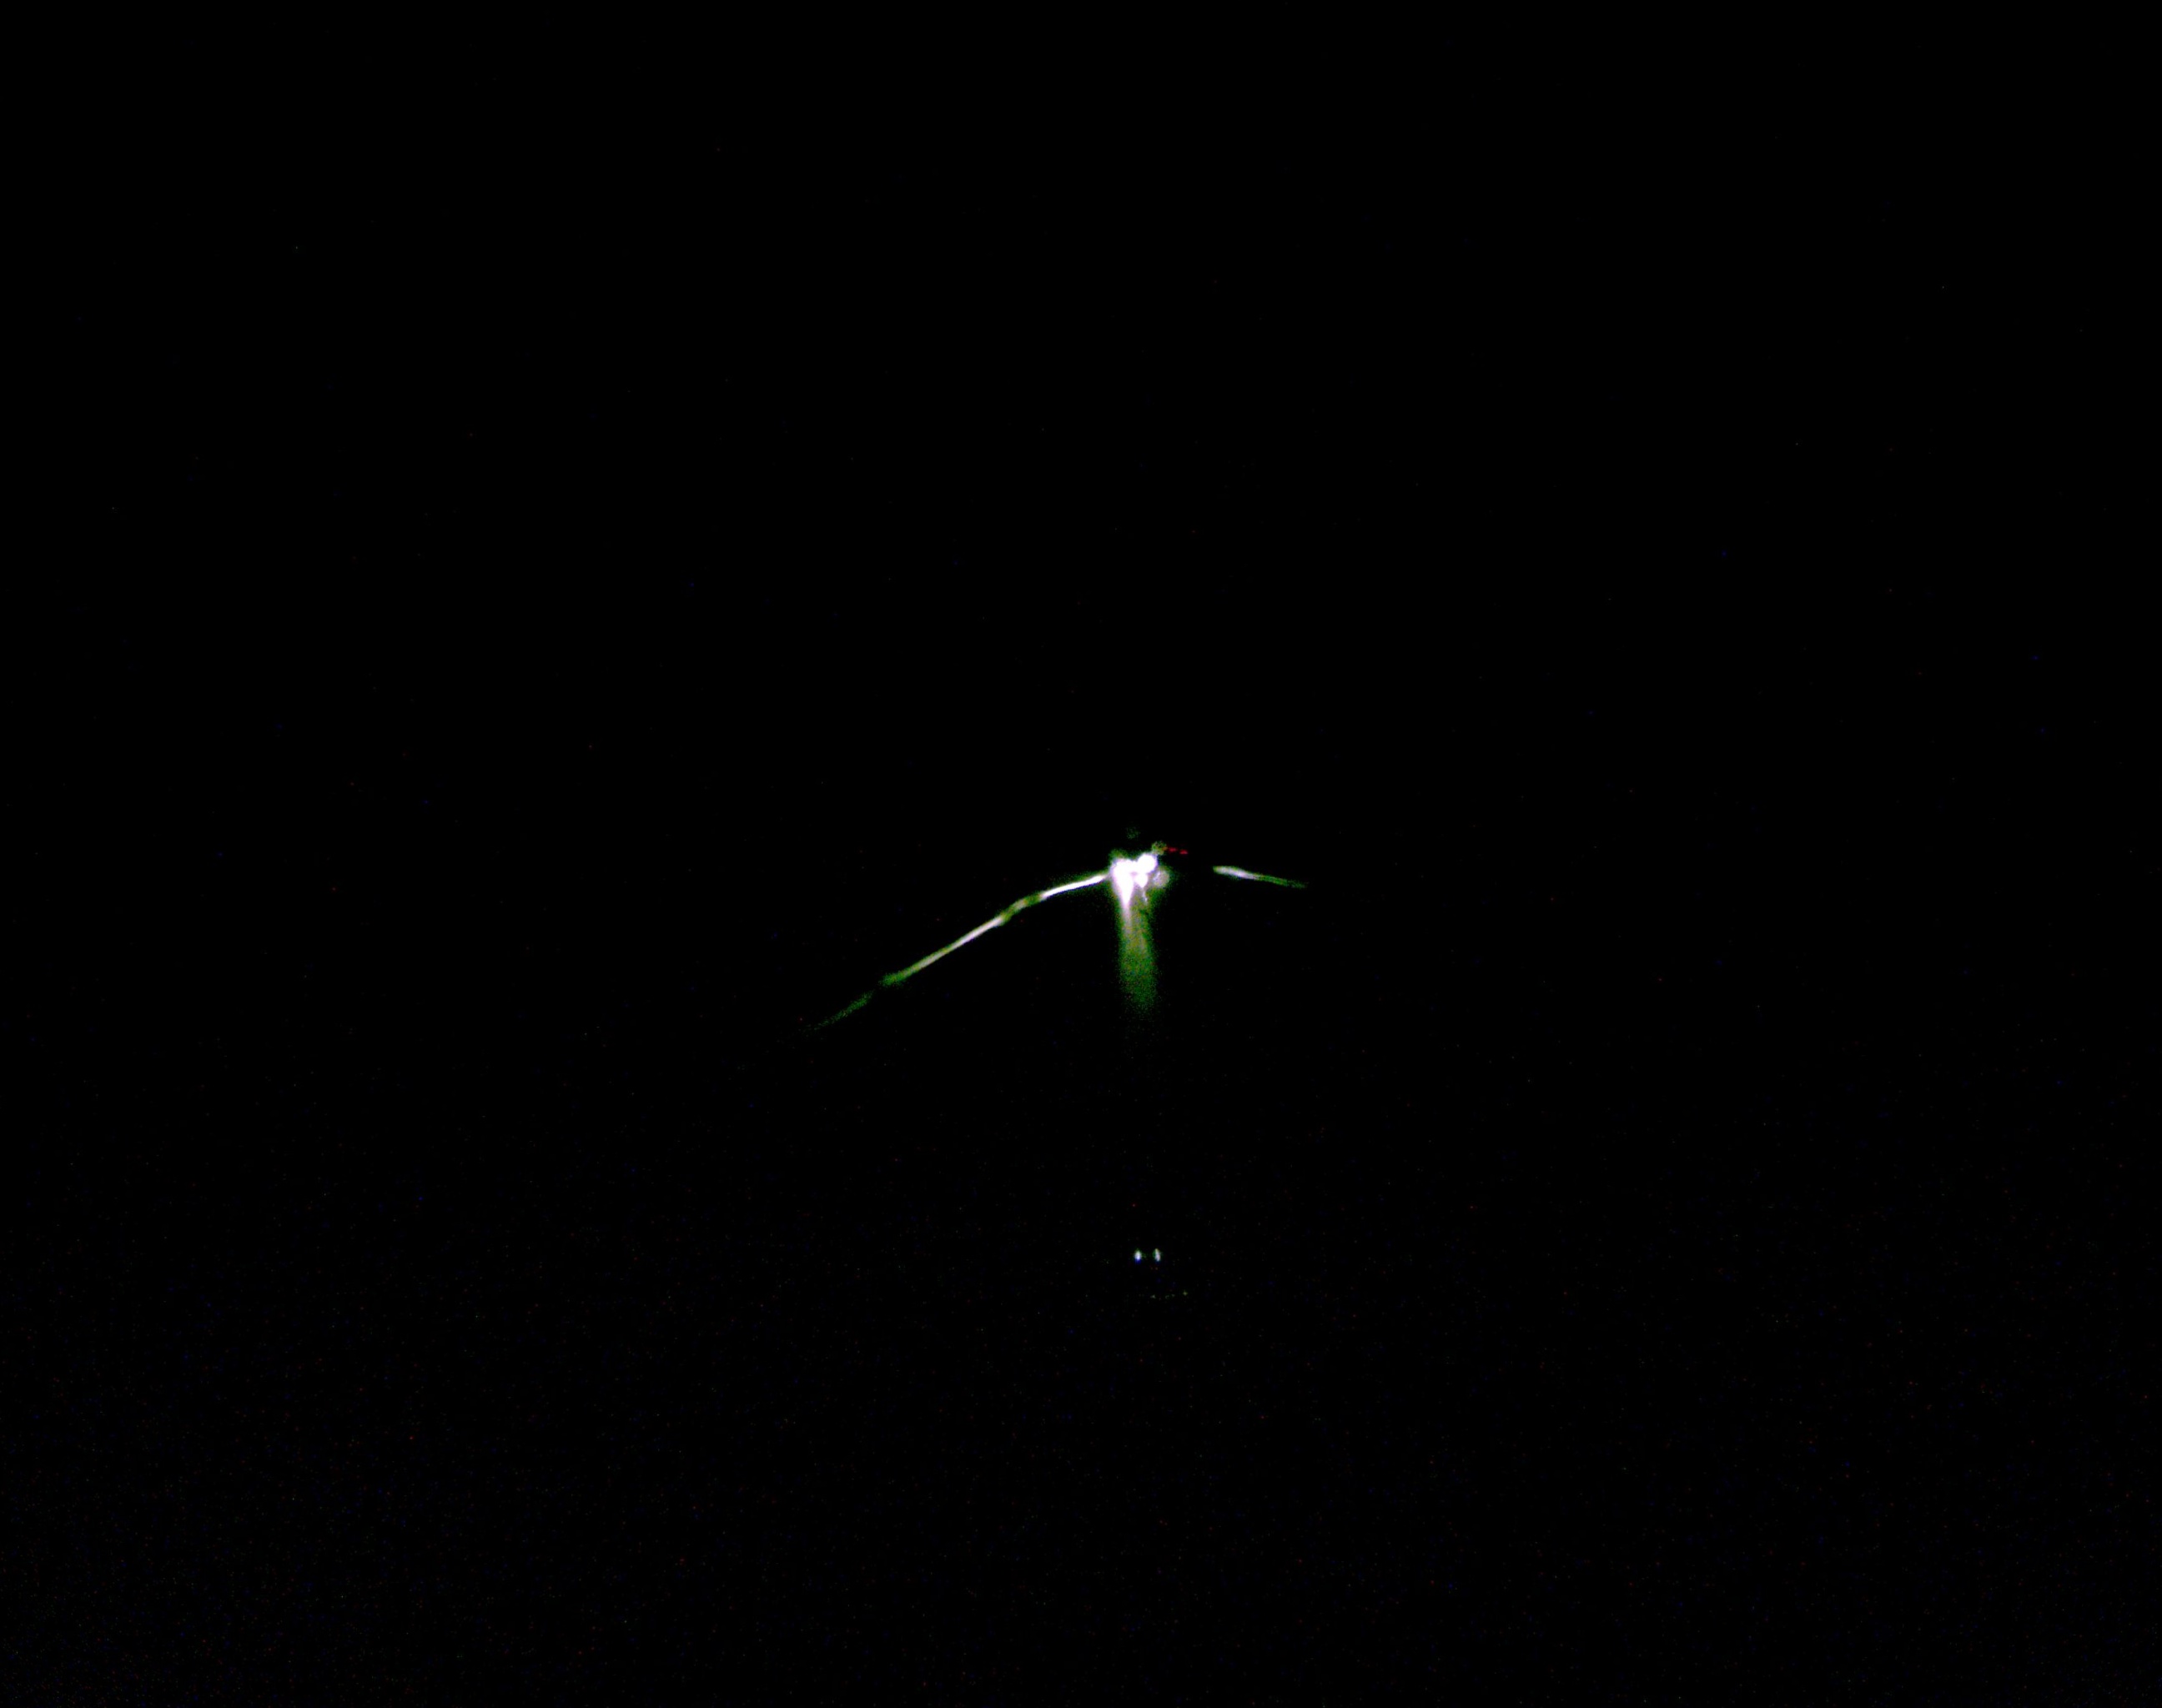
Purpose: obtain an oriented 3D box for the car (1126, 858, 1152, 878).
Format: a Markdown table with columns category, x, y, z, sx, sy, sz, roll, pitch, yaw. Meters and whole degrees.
| category | x | y | z | sx | sy | sz | roll | pitch | yaw |
| --- | --- | --- | --- | --- | --- | --- | --- | --- | --- |
| car | 4.869 | 1.148 | 63.557 | 1.775 | 1.444 | 4.139 | -3 | -1 | 9 |
